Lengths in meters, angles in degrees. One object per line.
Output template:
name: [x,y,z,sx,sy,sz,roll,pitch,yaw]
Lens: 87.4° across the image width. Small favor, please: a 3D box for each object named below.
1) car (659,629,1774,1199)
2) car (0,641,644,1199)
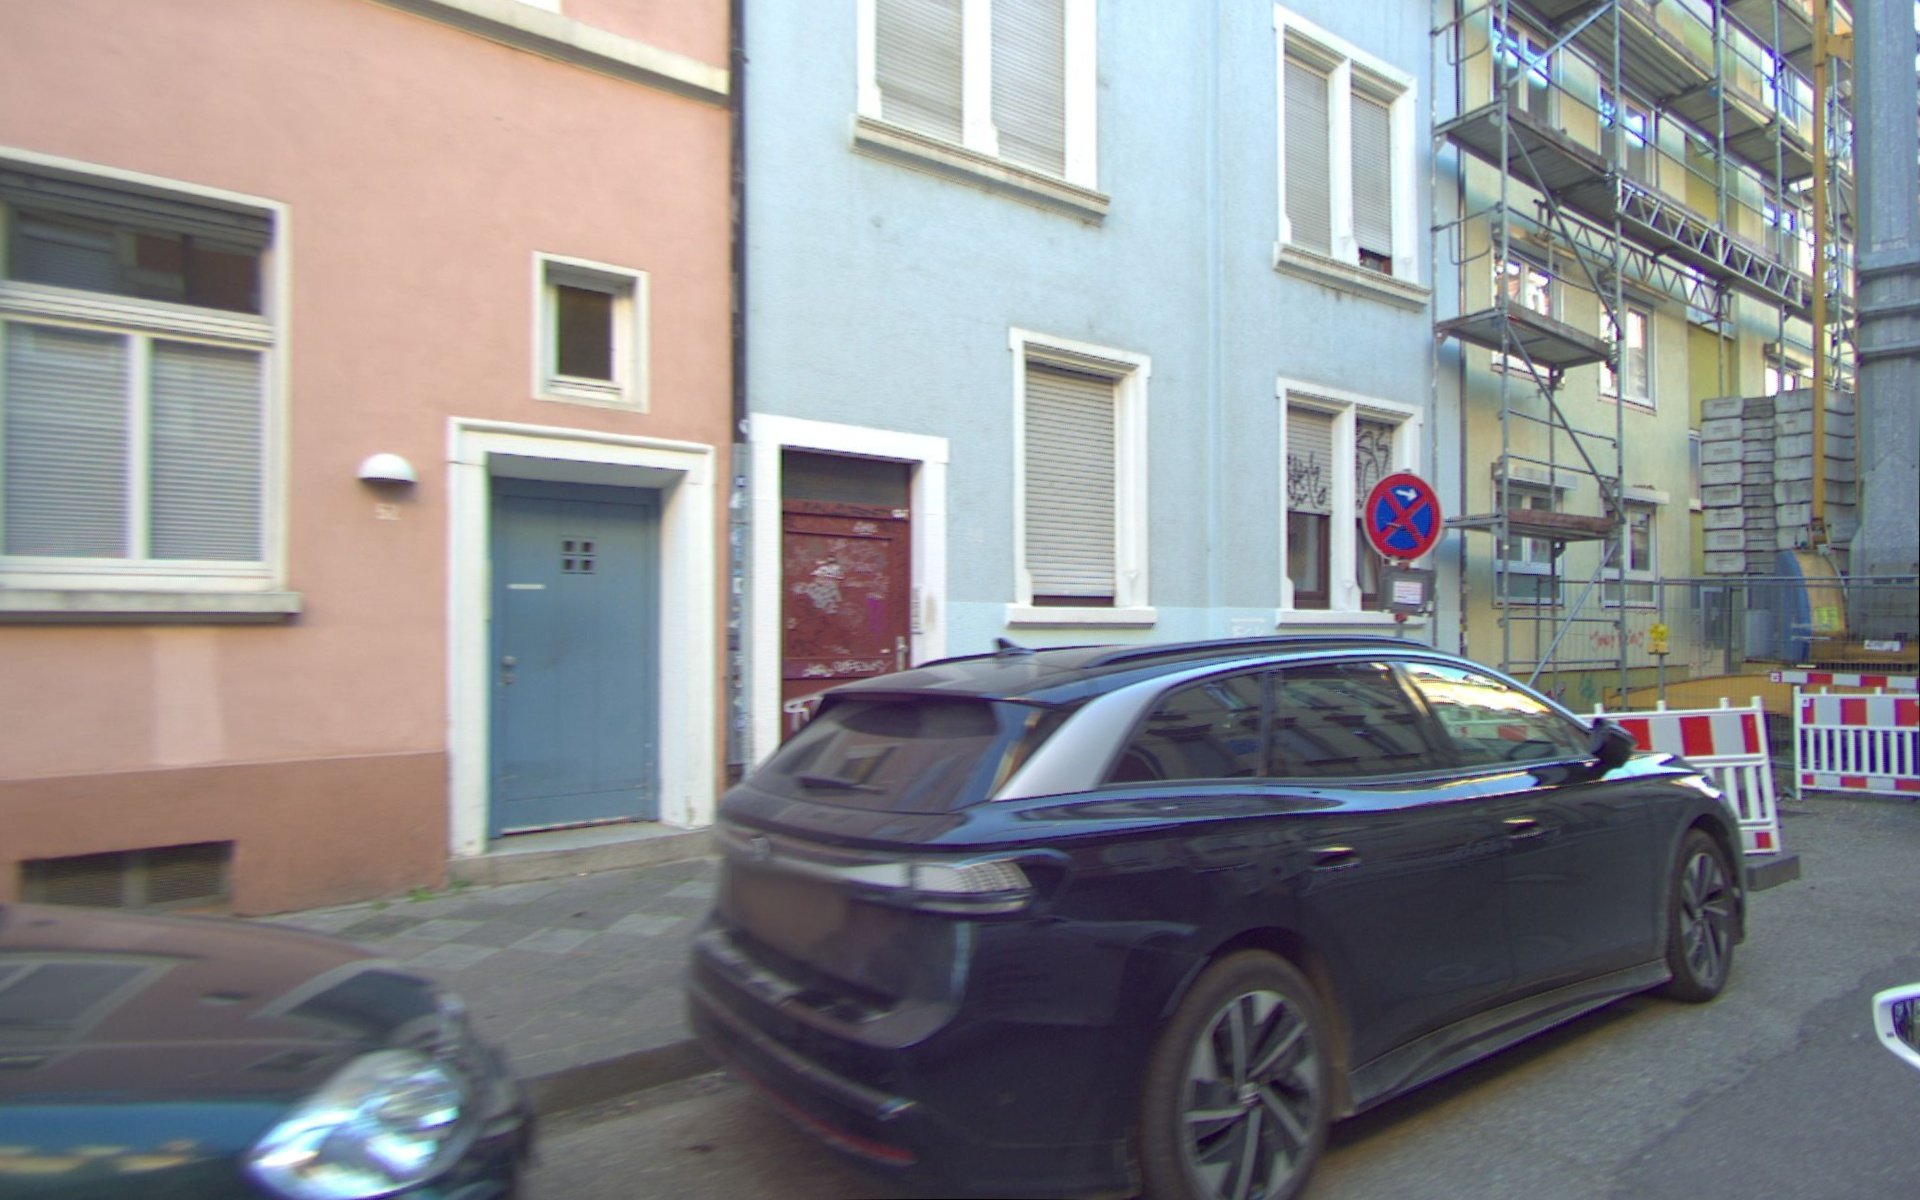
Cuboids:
car: [1.334,0.882,3.947,4.561,1.496,1.664,1,-3,-35]
car: [-2.786,0.825,1.121,4.370,1.531,1.664,1,-3,-35]
